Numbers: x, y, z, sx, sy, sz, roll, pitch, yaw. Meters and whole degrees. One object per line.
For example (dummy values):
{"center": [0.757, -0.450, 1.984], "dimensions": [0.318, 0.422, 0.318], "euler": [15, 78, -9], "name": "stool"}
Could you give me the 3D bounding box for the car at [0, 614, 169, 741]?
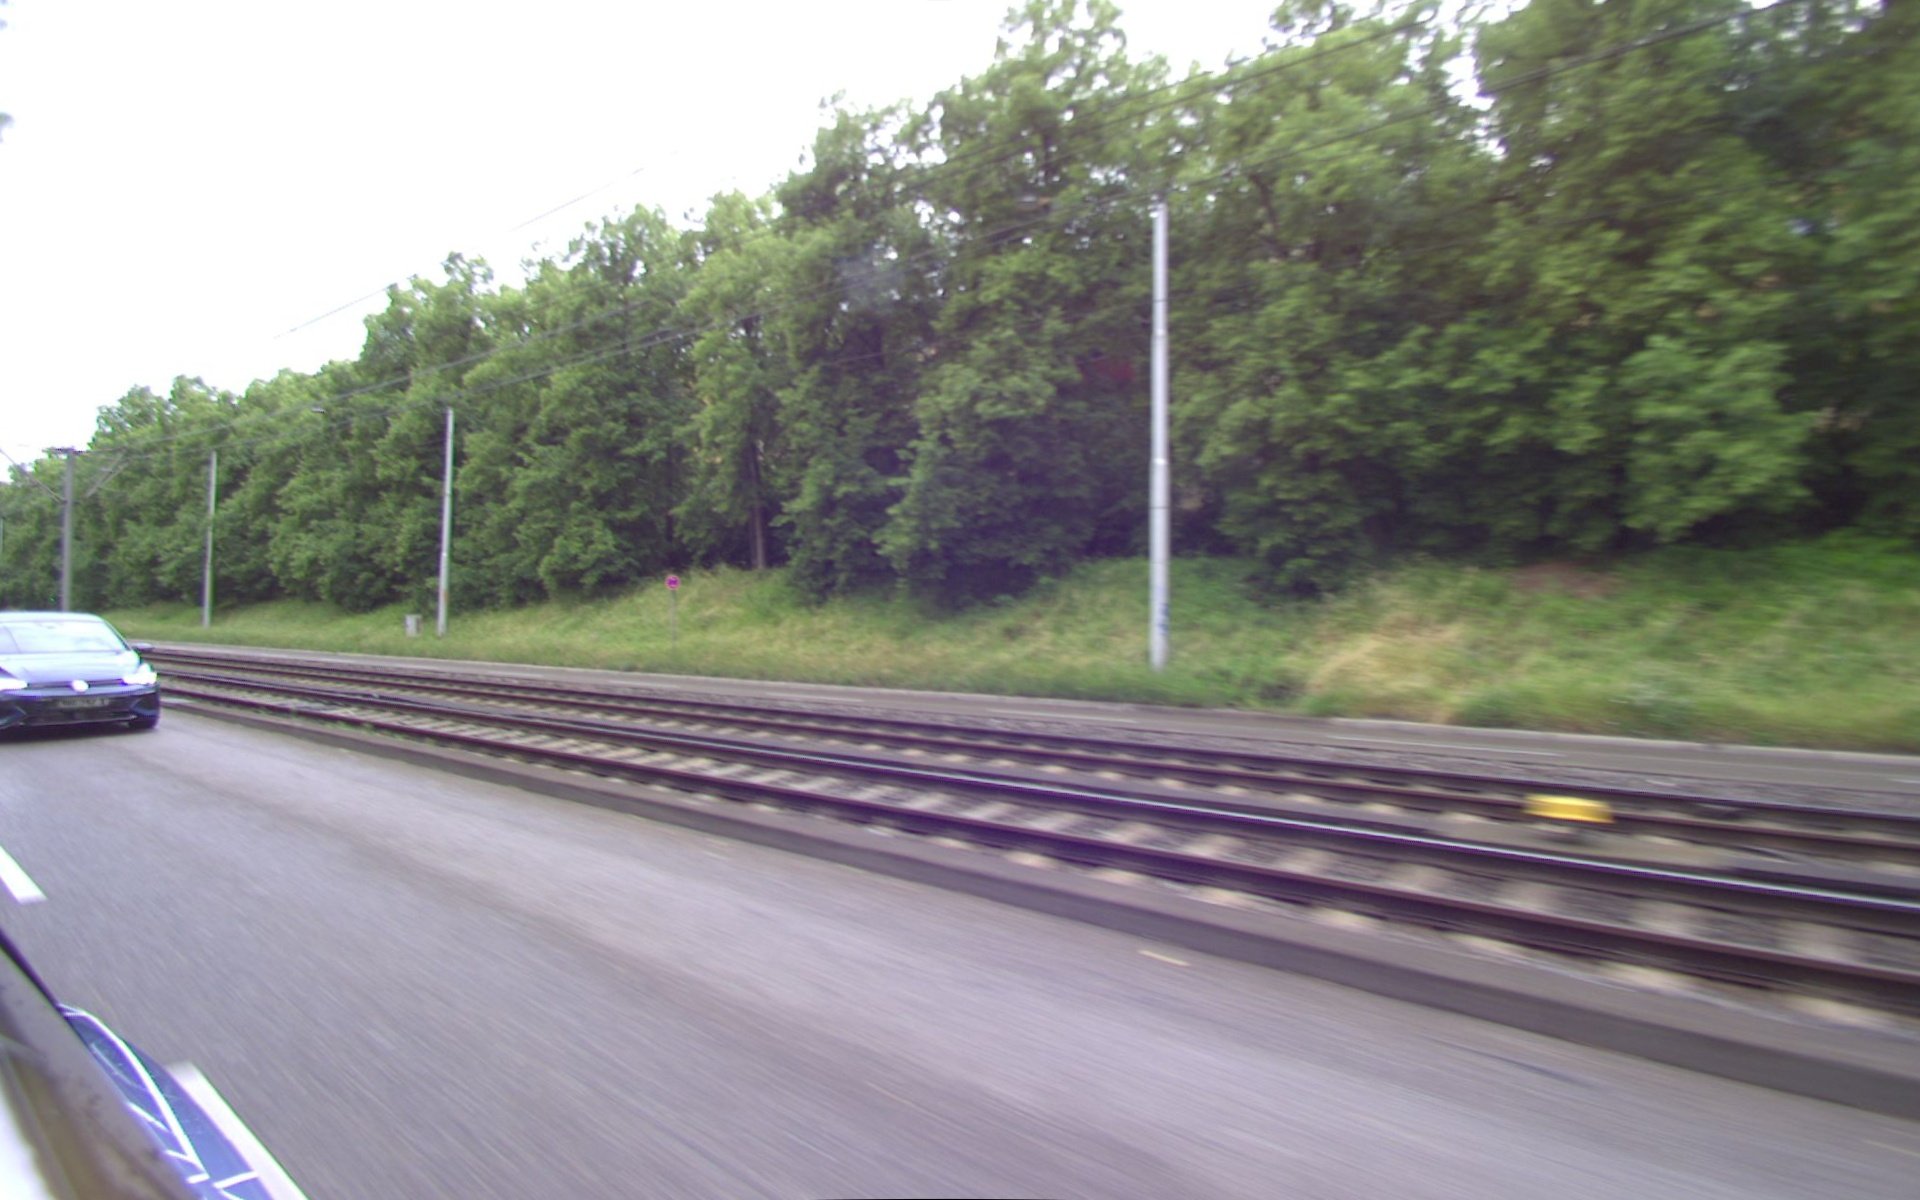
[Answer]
{"center": [-11.787, 0.880, 12.875], "dimensions": [4.342, 1.389, 1.790], "euler": [-1, -1, 39], "name": "car"}
